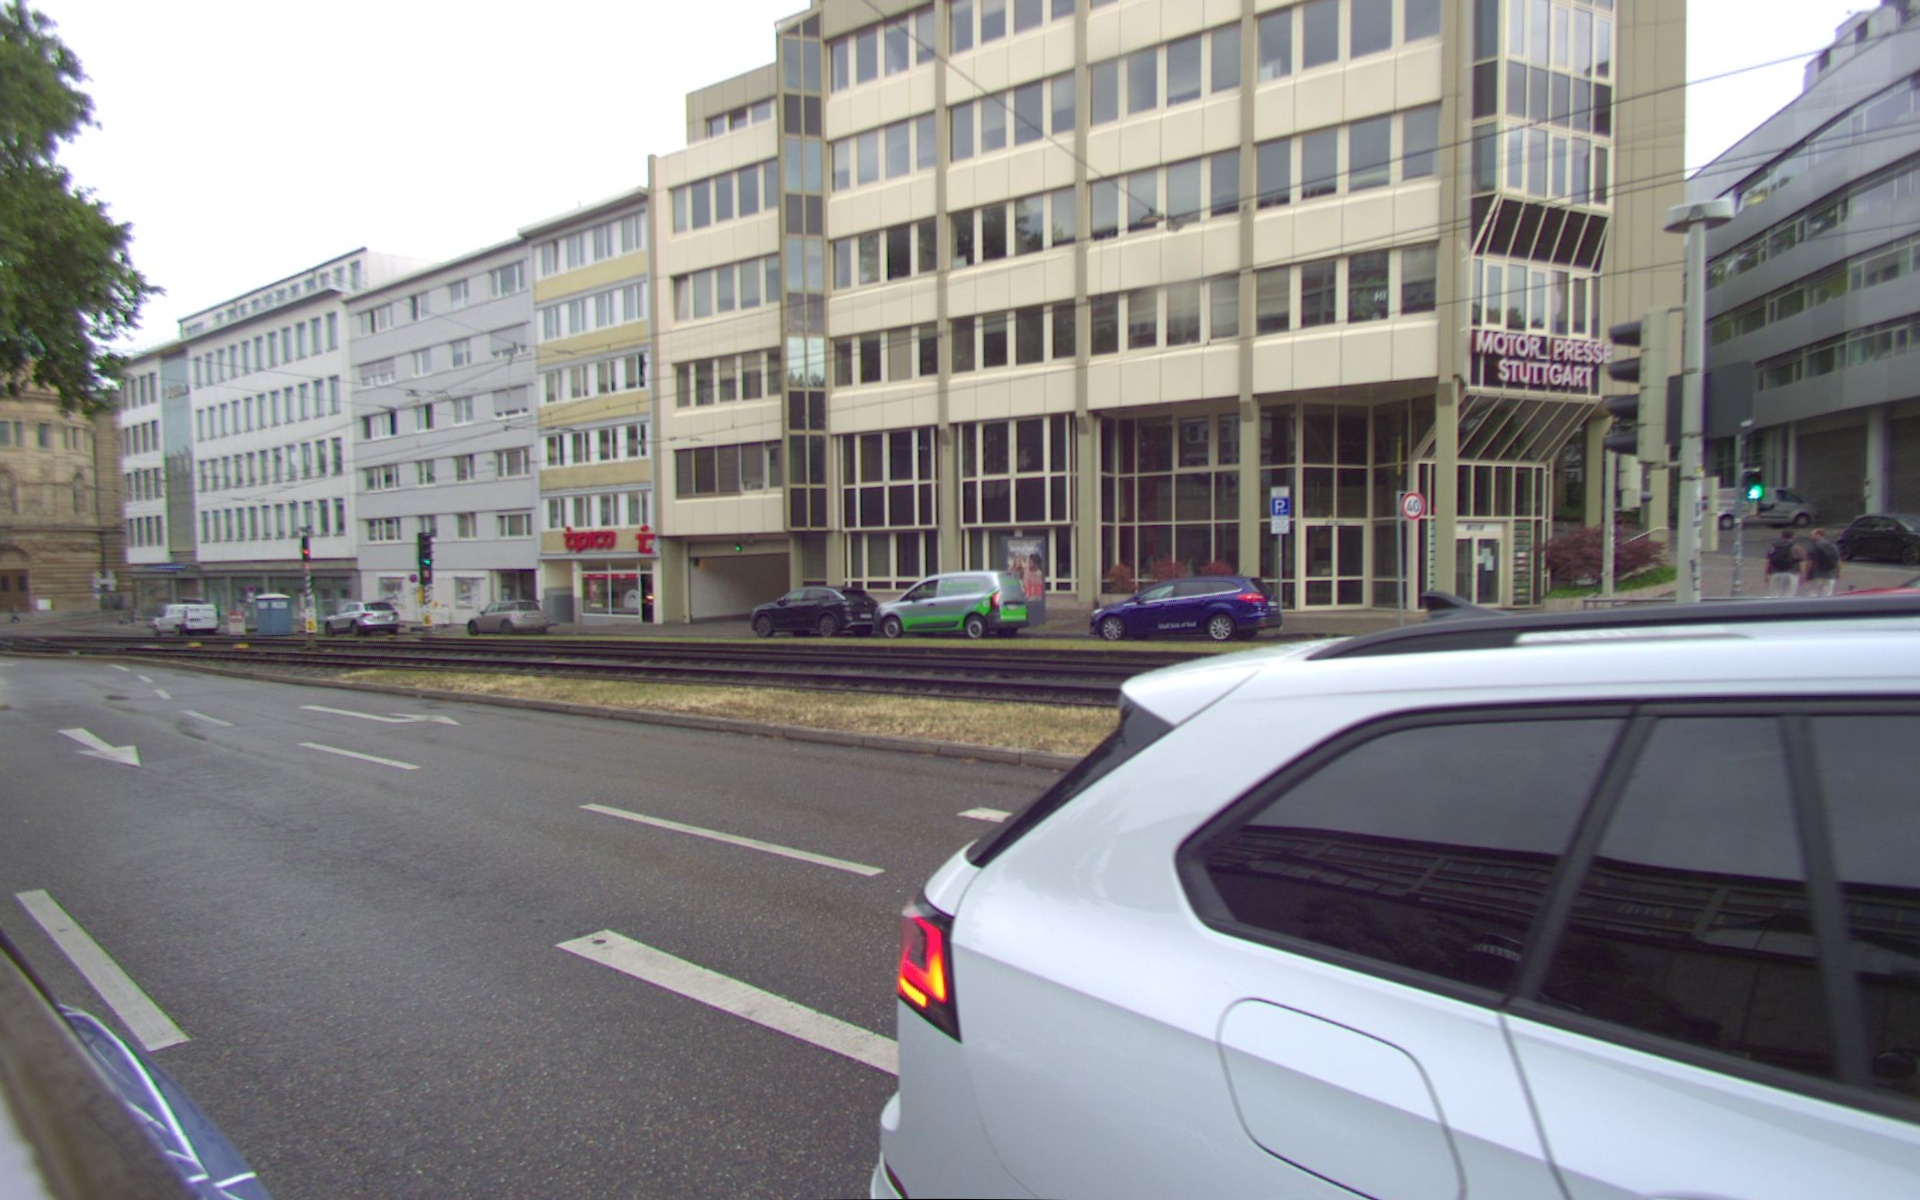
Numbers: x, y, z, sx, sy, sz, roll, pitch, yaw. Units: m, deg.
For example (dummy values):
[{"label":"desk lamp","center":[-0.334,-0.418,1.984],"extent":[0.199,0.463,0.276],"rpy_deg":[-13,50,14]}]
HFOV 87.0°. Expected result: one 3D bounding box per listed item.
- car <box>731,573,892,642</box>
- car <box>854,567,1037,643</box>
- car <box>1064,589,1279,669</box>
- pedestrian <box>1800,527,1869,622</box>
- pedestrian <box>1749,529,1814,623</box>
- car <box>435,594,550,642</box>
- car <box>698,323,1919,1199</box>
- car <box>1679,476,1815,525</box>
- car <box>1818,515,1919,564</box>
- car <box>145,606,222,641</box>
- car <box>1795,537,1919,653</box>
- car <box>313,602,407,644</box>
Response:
[{"label":"car","center":[-4.550,0.205,30.760],"extent":[4.682,1.863,1.978],"rpy_deg":[0,4,34]},{"label":"car","center":[-0.438,0.102,27.669],"extent":[4.682,1.863,1.978],"rpy_deg":[0,4,34]},{"label":"car","center":[4.927,0.620,23.750],"extent":[4.536,1.593,1.978],"rpy_deg":[0,4,34]},{"label":"pedestrian","center":[17.008,-0.498,19.706],"extent":[0.804,1.800,0.637],"rpy_deg":[-1,3,18]},{"label":"pedestrian","center":[16.129,-0.479,19.881],"extent":[0.804,1.800,0.637],"rpy_deg":[-1,3,18]},{"label":"car","center":[-18.748,0.674,40.510],"extent":[4.682,1.686,1.978],"rpy_deg":[0,4,34]},{"label":"car","center":[1.714,0.563,0.954],"extent":[4.251,1.588,1.662],"rpy_deg":[-1,1,41]},{"label":"car","center":[37.632,-4.738,48.510],"extent":[4.779,2.028,1.996],"rpy_deg":[-2,3,8]},{"label":"car","center":[28.020,-1.795,29.890],"extent":[1.803,1.374,4.004],"rpy_deg":[-2,3,-3]},{"label":"car","center":[-46.372,1.344,60.412],"extent":[5.117,1.856,1.978],"rpy_deg":[0,4,34]},{"label":"car","center":[15.265,-0.128,14.777],"extent":[4.397,1.652,1.968],"rpy_deg":[-1,2,29]},{"label":"car","center":[-27.954,1.097,47.126],"extent":[4.686,1.686,1.976],"rpy_deg":[-2,3,36]}]
